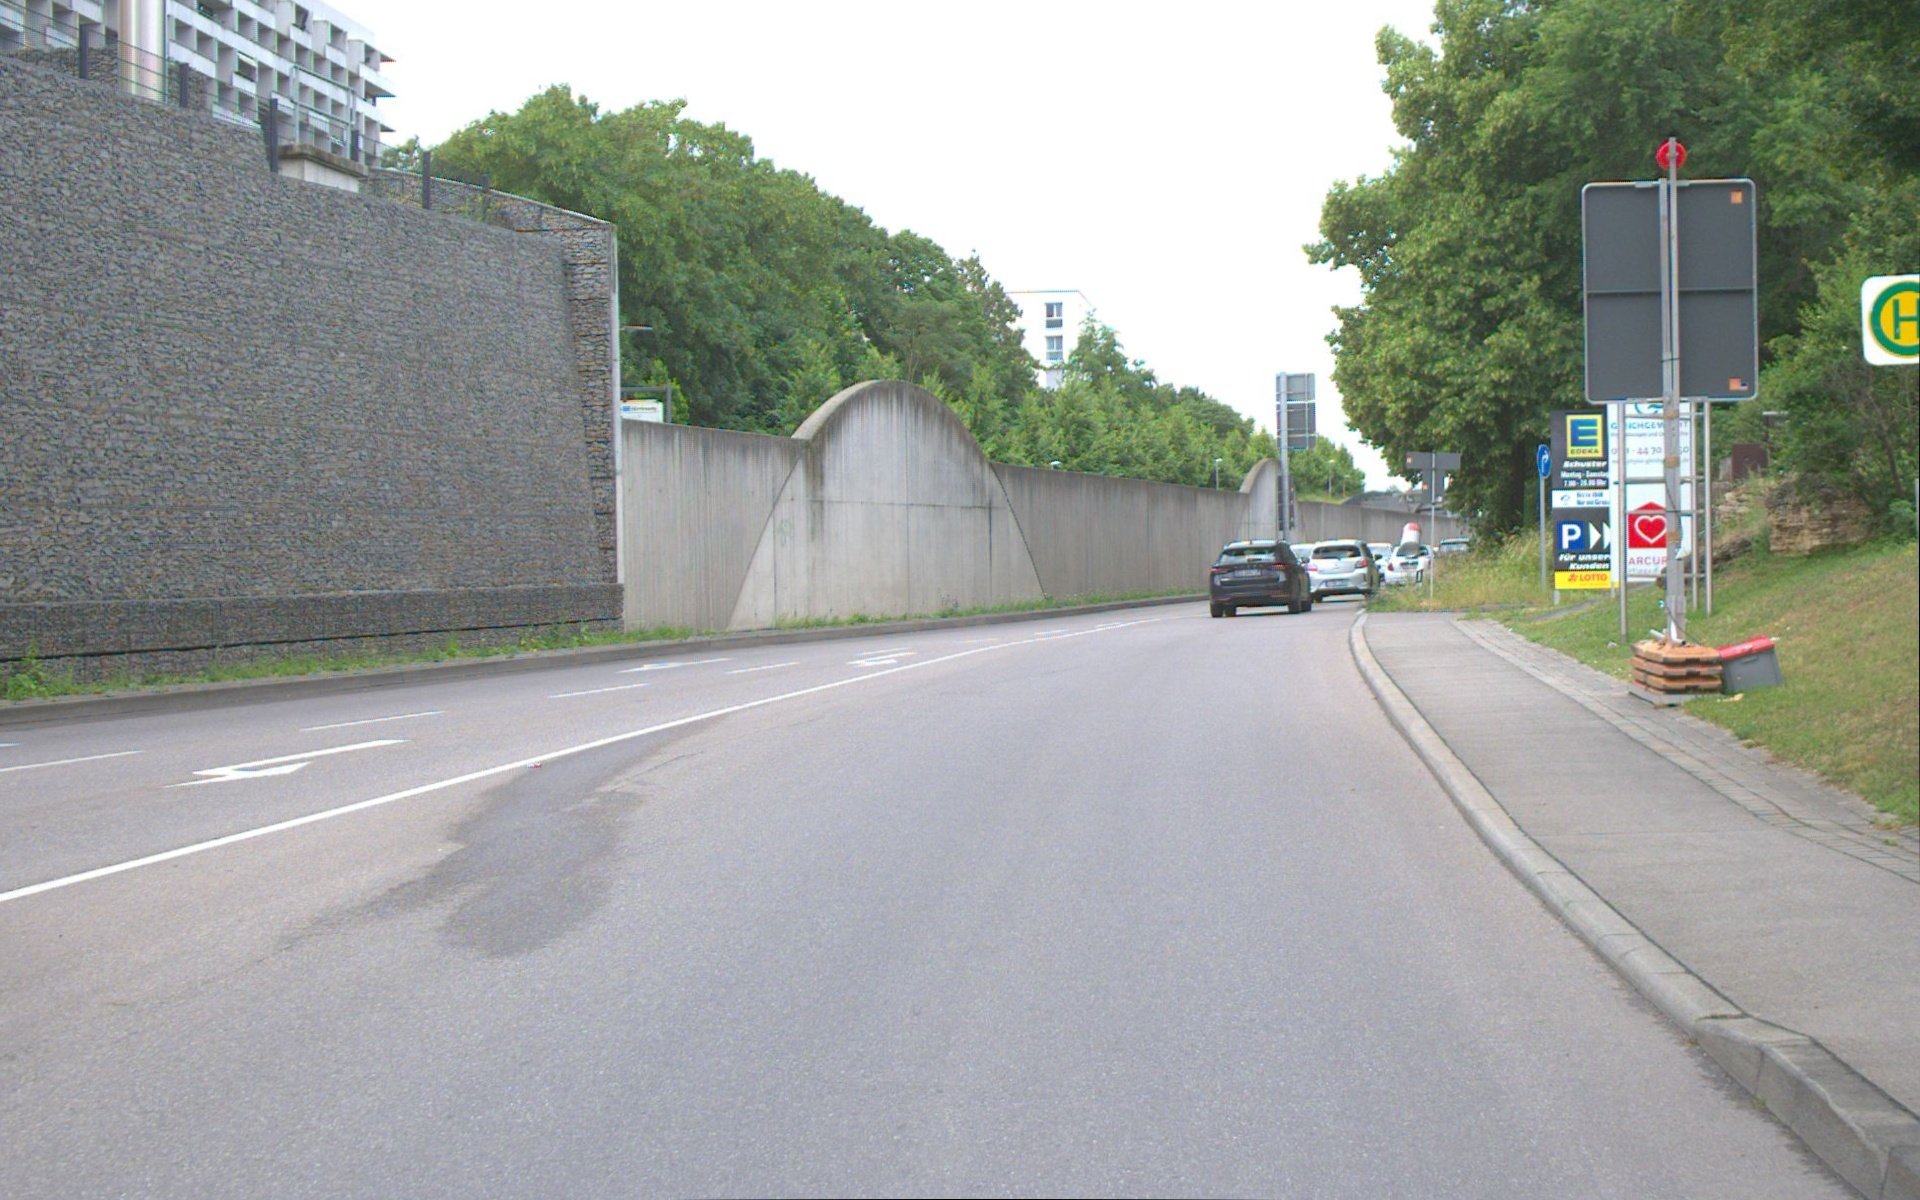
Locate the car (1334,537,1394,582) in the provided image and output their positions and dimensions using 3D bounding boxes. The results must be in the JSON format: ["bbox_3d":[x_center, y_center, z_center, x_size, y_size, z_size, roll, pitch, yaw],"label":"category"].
[{"bbox_3d":[15.451,-1.538,131.448,1.891,1.626,4.424,-2,0,11],"label":"car"}]

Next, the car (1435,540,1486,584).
[{"bbox_3d":[19.280,-1.448,132.287,1.755,1.528,4.252,1,-1,11],"label":"car"}]

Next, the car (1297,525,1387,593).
[{"bbox_3d":[9.390,-0.987,84.340,1.755,1.518,4.034,1,-1,12],"label":"car"}]

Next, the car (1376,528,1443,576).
[{"bbox_3d":[14.406,-1.528,110.054,1.867,1.485,4.255,1,0,10],"label":"car"}]

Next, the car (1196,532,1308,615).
[{"bbox_3d":[5.829,-0.507,68.322,1.755,1.518,4.034,1,-1,11],"label":"car"}]
